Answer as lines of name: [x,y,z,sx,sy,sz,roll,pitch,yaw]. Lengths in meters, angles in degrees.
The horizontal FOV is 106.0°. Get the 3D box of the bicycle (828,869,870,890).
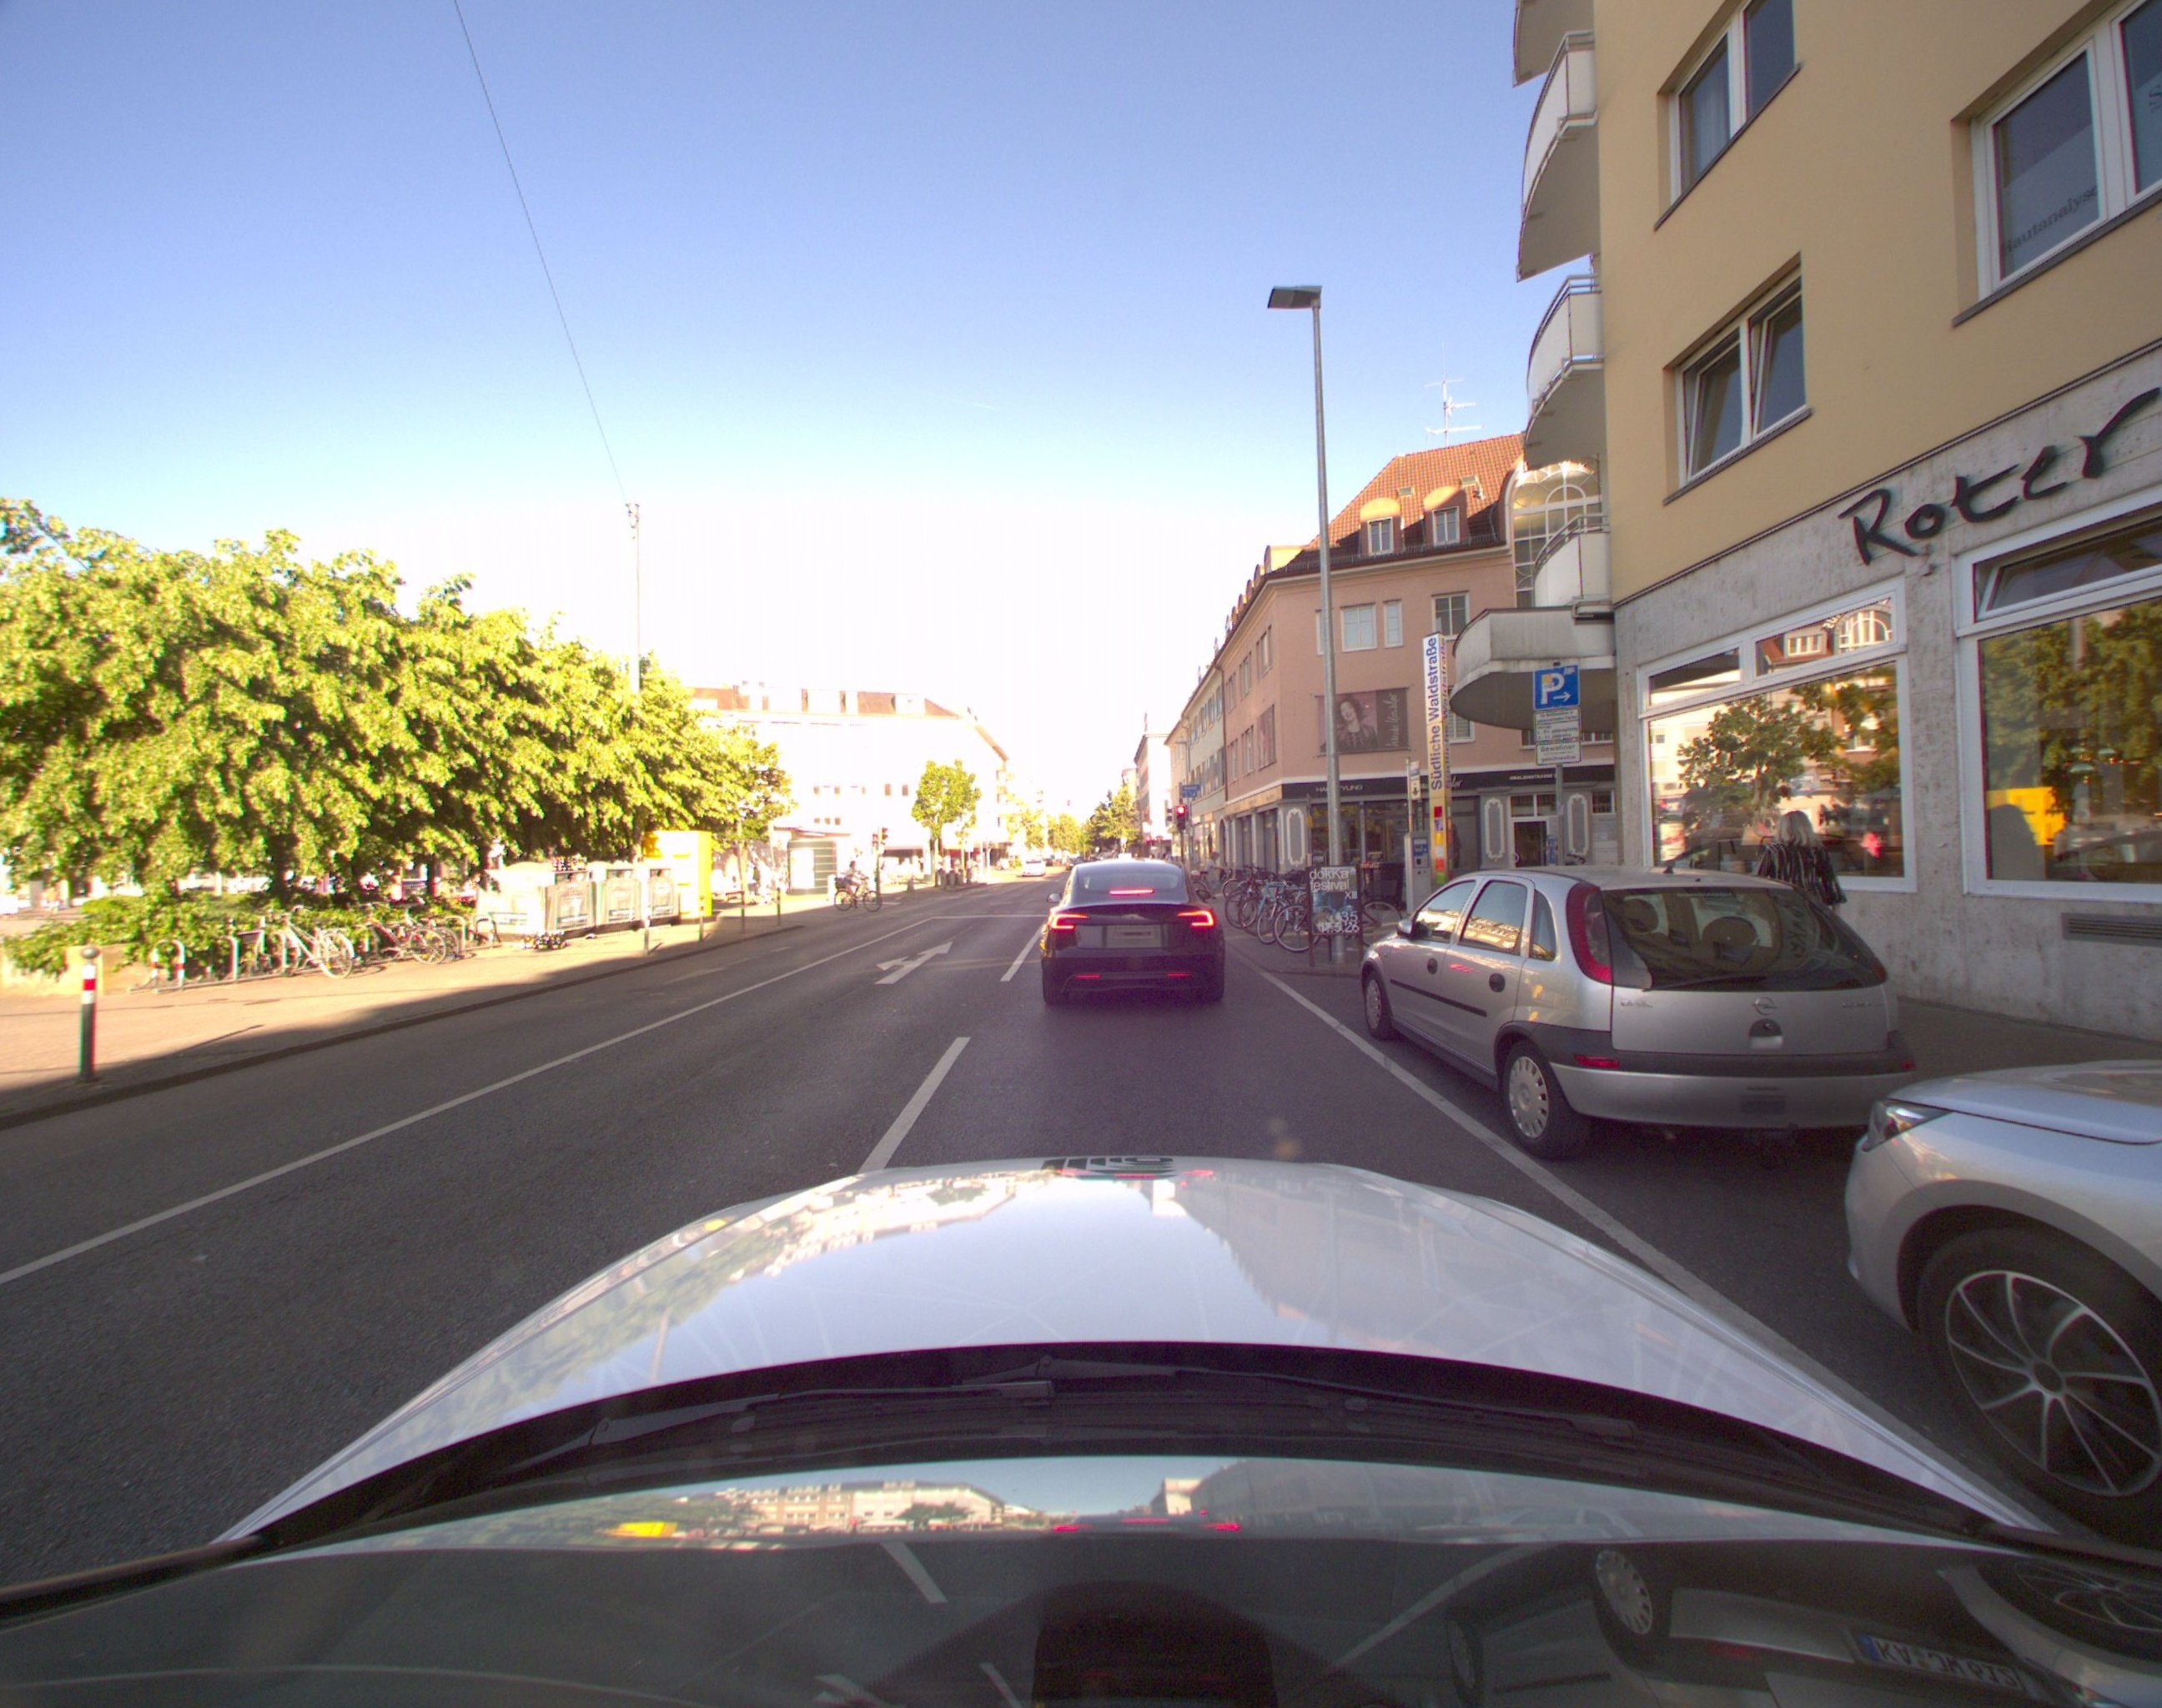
bicycle: [-12.768,1.408,44.871,2.074,1.104,0.806,-1,0,1]

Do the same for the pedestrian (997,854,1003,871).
pedestrian: [-9.528,1.026,96.130,0.623,2.013,0.575,-1,0,1]

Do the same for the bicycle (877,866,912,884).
bicycle: [-12.432,1.400,54.359,2.074,1.104,0.806,-1,0,1]

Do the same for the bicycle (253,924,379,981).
bicycle: [-11.347,1.451,12.089,1.645,0.769,0.476,-1,-1,10]

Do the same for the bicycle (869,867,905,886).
bicycle: [-12.391,1.431,52.162,2.074,1.104,0.806,-1,0,1]

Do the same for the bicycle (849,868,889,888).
bicycle: [-12.349,1.395,47.383,2.074,1.104,0.806,-1,0,1]

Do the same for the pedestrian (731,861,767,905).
pedestrian: [-12.515,1.081,30.730,0.981,1.636,0.738,-1,0,5]

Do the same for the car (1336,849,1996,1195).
car: [3.002,0.696,5.293,1.615,1.394,3.888,-1,0,3]

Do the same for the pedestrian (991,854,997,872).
pedestrian: [-10.282,1.056,96.147,0.623,2.013,0.707,-1,0,1]

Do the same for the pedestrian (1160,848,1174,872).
pedestrian: [6.697,0.461,63.453,0.995,1.850,0.615,-1,0,1]

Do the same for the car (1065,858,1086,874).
car: [-0.654,1.319,94.003,2.046,1.727,4.646,-1,0,-4]

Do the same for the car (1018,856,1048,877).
car: [-3.942,1.045,67.808,1.986,1.541,4.002,-5,0,2]

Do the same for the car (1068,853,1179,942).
car: [0.801,0.739,15.608,1.842,1.455,3.788,-1,0,3]

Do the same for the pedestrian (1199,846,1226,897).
pedestrian: [3.814,0.512,23.633,0.739,1.440,0.583,-1,-1,6]

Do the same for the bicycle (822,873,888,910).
bicycle: [-7.660,1.268,27.609,2.108,1.200,0.631,-1,0,18]

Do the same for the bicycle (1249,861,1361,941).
bicycle: [3.569,0.745,13.046,1.622,1.160,0.433,-3,0,0]

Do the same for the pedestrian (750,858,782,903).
pedestrian: [-12.215,1.020,31.618,0.897,1.725,0.745,-1,0,5]

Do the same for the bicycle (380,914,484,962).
bicycle: [-11.195,1.438,14.062,1.466,0.769,0.475,-1,-1,4]

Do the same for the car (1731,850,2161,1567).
car: [3.029,0.709,0.663,1.666,1.427,4.074,-1,0,-2]

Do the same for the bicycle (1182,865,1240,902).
bicycle: [3.767,0.858,23.640,1.606,1.045,0.592,-1,-1,7]

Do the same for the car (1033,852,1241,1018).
car: [0.591,0.732,9.217,1.842,1.455,3.788,-1,0,3]

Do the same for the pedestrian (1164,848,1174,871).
pedestrian: [6.866,0.455,63.465,0.701,1.783,0.534,-1,0,1]

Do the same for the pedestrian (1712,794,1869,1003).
pedestrian: [5.903,0.360,6.813,0.659,1.633,0.629,-4,-1,6]

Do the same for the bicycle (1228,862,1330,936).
bicycle: [3.443,0.774,14.198,1.622,1.160,0.433,-3,0,0]

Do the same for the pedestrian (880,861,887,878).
pedestrian: [-15.305,1.196,63.054,0.419,1.339,0.393,-1,0,-5]

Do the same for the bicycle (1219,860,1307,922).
bicycle: [3.678,0.748,16.523,1.621,1.160,0.433,-3,0,2]

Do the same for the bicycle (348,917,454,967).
bicycle: [-11.267,1.451,13.503,1.465,0.769,0.442,-1,-1,6]

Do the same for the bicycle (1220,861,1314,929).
bicycle: [3.490,0.761,15.332,1.622,1.160,0.433,-3,0,0]

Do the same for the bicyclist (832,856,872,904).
bicyclist: [-7.768,0.873,27.648,1.088,1.589,0.631,-1,0,18]
